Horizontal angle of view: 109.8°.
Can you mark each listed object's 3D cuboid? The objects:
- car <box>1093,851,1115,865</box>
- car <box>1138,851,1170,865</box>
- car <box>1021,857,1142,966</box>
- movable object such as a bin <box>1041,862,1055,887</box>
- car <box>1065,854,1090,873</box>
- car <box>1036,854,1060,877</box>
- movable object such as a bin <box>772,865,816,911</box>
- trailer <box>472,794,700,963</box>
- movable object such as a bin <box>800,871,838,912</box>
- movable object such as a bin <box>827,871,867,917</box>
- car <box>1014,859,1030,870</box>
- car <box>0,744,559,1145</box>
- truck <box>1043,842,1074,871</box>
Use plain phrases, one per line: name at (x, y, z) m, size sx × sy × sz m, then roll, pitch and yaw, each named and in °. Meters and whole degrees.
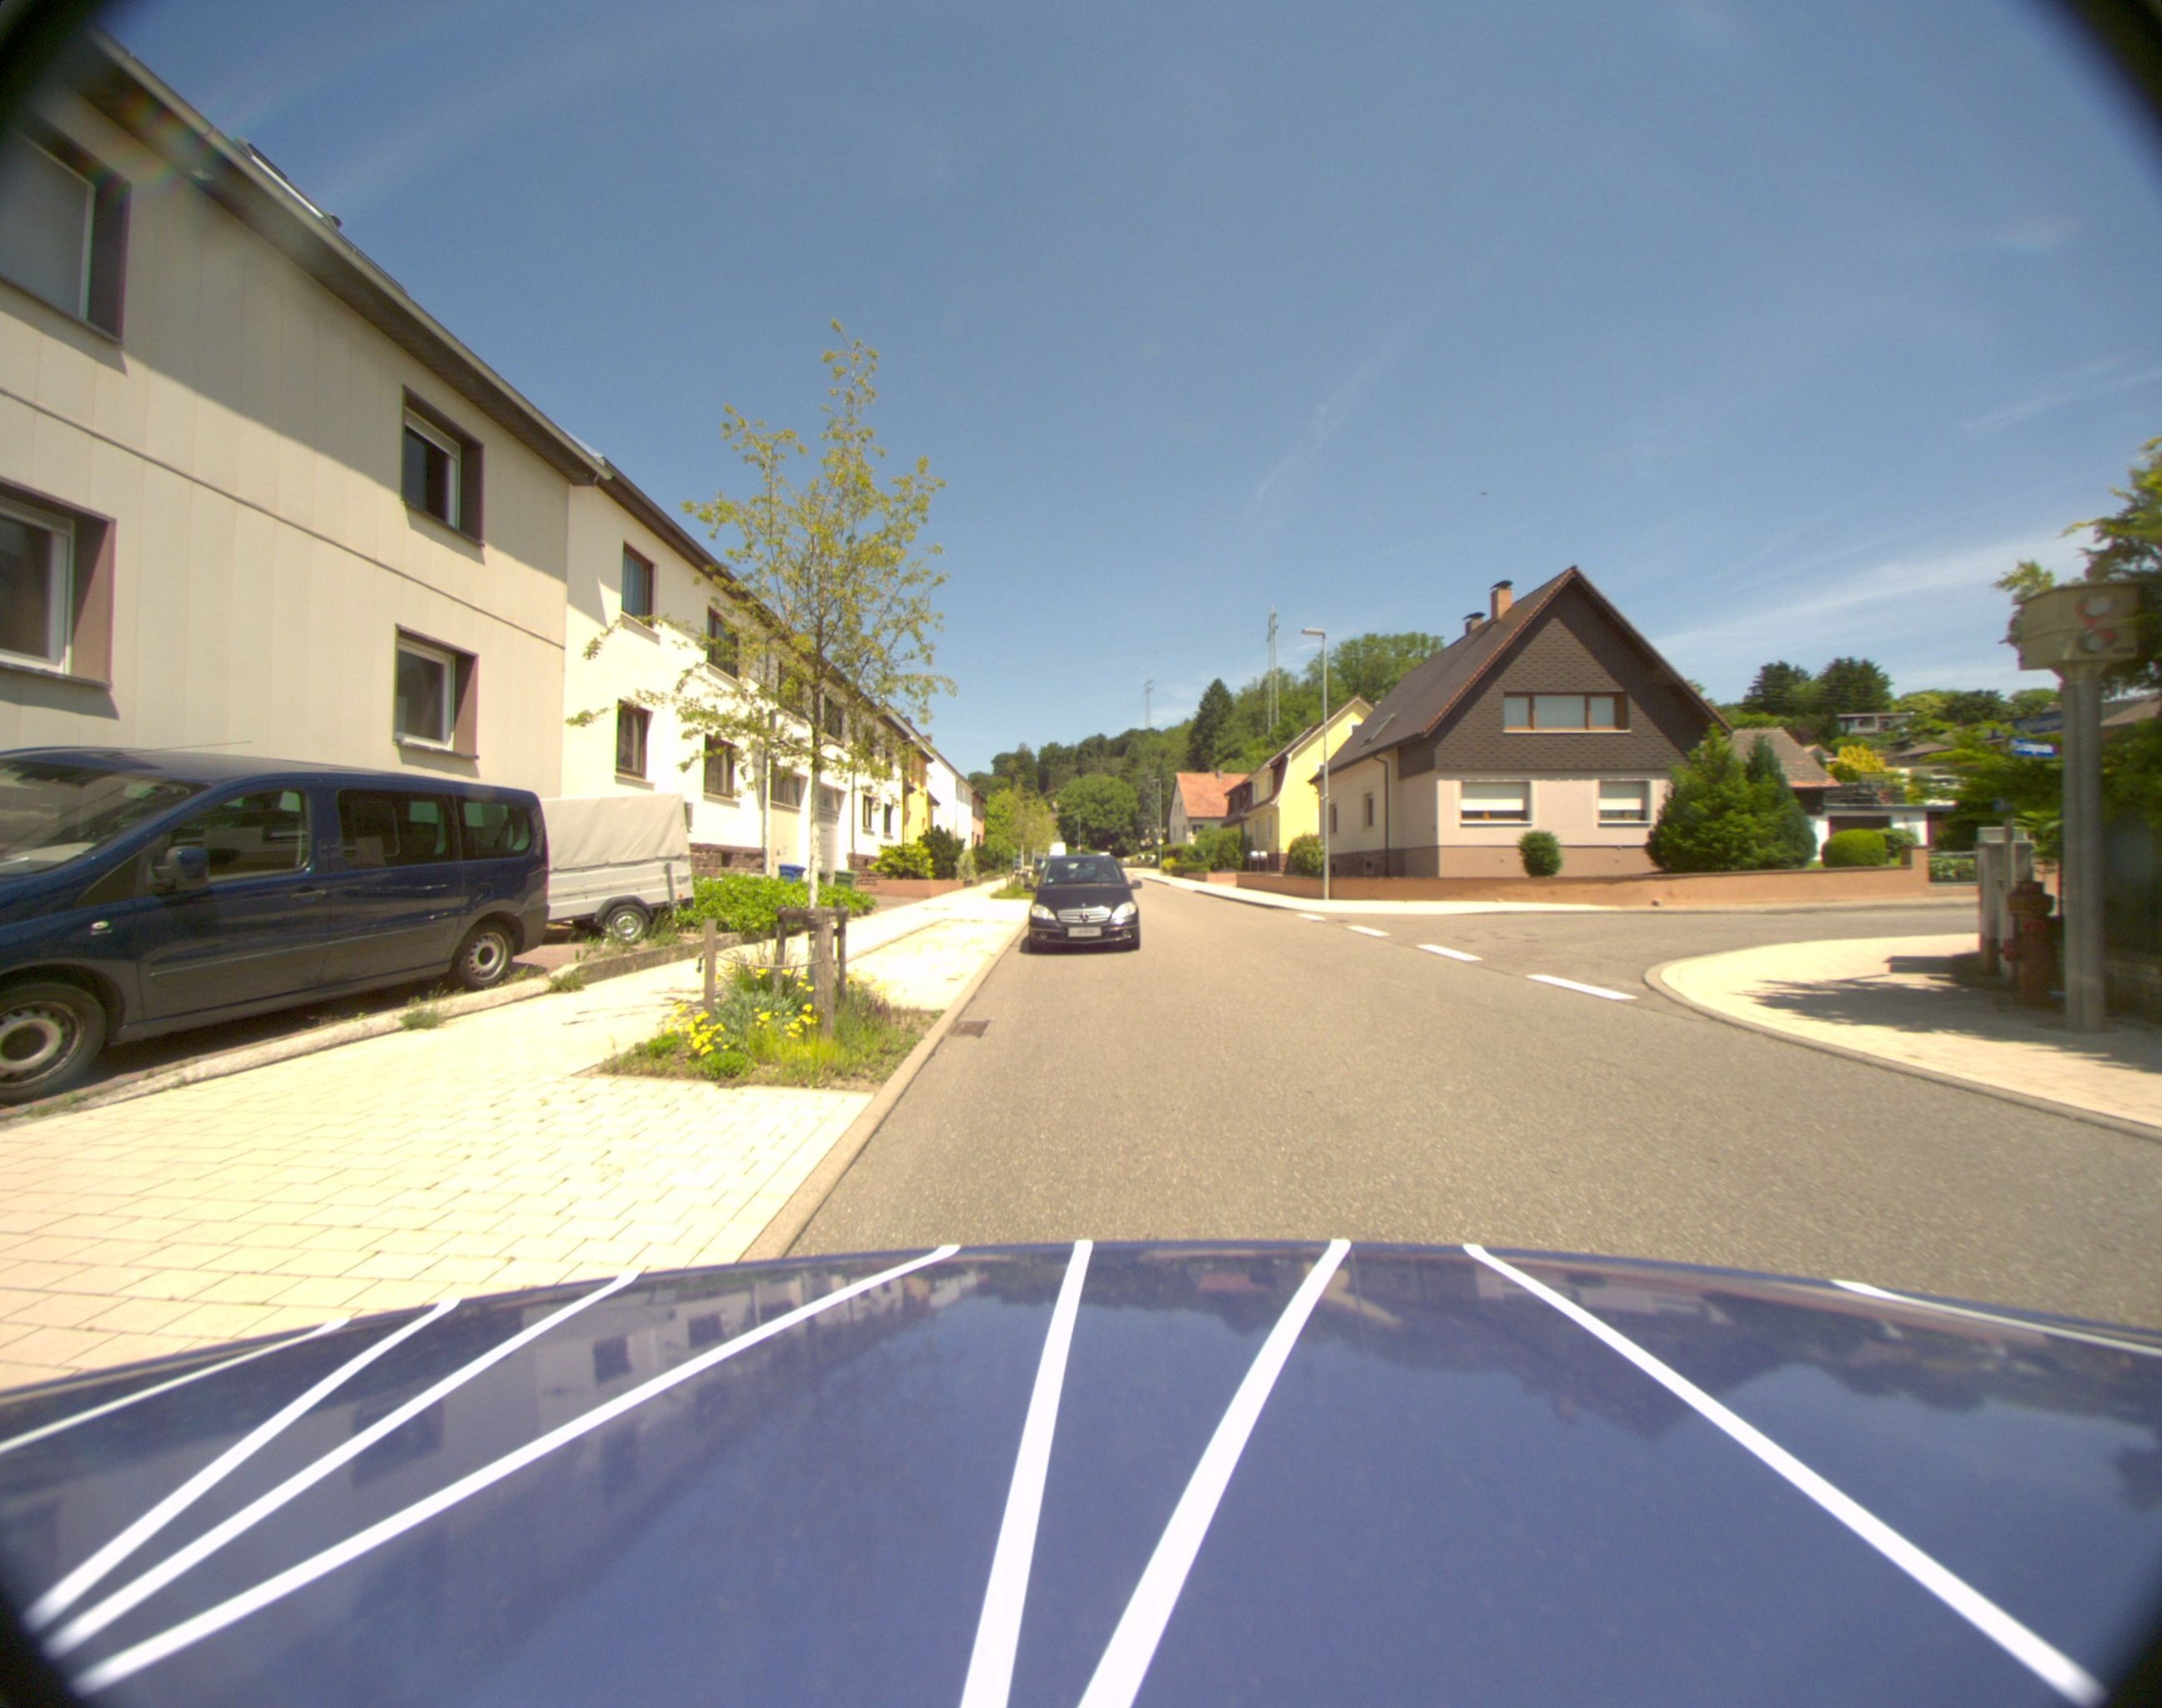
car at (3.192, 0.568, 106.171) m, size 1.706 × 1.937 × 3.993 m, roll -1°, pitch 0°, yaw -18°
car at (9.949, 0.501, 103.555) m, size 4.004 × 1.779 × 1.807 m, roll -1°, pitch 0°, yaw -23°
car at (0.070, 0.869, 13.464) m, size 1.790 × 1.595 × 4.076 m, roll -2°, pitch 0°, yaw 2°
movable object such as a bin at (-1.878, 1.171, 43.603) m, size 0.794 × 1.387 × 0.925 m, roll -1°, pitch 0°, yaw -3°
car at (-0.379, 0.920, 73.955) m, size 1.969 × 1.823 × 4.462 m, roll 1°, pitch 0°, yaw -6°
car at (-2.833, 0.935, 64.332) m, size 1.860 × 1.831 × 4.669 m, roll 1°, pitch 0°, yaw -3°
movable object such as a bin at (-7.374, 0.863, 19.571) m, size 0.686 × 1.100 × 0.863 m, roll 3°, pitch 1°, yaw 6°
trailer at (-6.621, 0.291, 10.262) m, size 1.320 × 2.002 × 2.278 m, roll -1°, pitch 0°, yaw 42°
movable object such as a bin at (-6.701, 0.954, 19.436) m, size 0.559 × 0.980 × 0.803 m, roll 4°, pitch 1°, yaw 7°
movable object such as a bin at (-6.011, 1.020, 19.564) m, size 0.685 × 1.108 × 0.812 m, roll 3°, pitch 1°, yaw 5°
car at (-7.627, 1.374, 98.037) m, size 1.676 × 1.368 × 3.997 m, roll 1°, pitch 0°, yaw -8°
car at (-6.167, 0.391, 5.159) m, size 1.857 × 1.959 × 4.773 m, roll 4°, pitch 0°, yaw 0°
truck at (-2.903, 0.284, 94.157) m, size 2.808 × 3.394 × 8.113 m, roll -1°, pitch 0°, yaw -9°
